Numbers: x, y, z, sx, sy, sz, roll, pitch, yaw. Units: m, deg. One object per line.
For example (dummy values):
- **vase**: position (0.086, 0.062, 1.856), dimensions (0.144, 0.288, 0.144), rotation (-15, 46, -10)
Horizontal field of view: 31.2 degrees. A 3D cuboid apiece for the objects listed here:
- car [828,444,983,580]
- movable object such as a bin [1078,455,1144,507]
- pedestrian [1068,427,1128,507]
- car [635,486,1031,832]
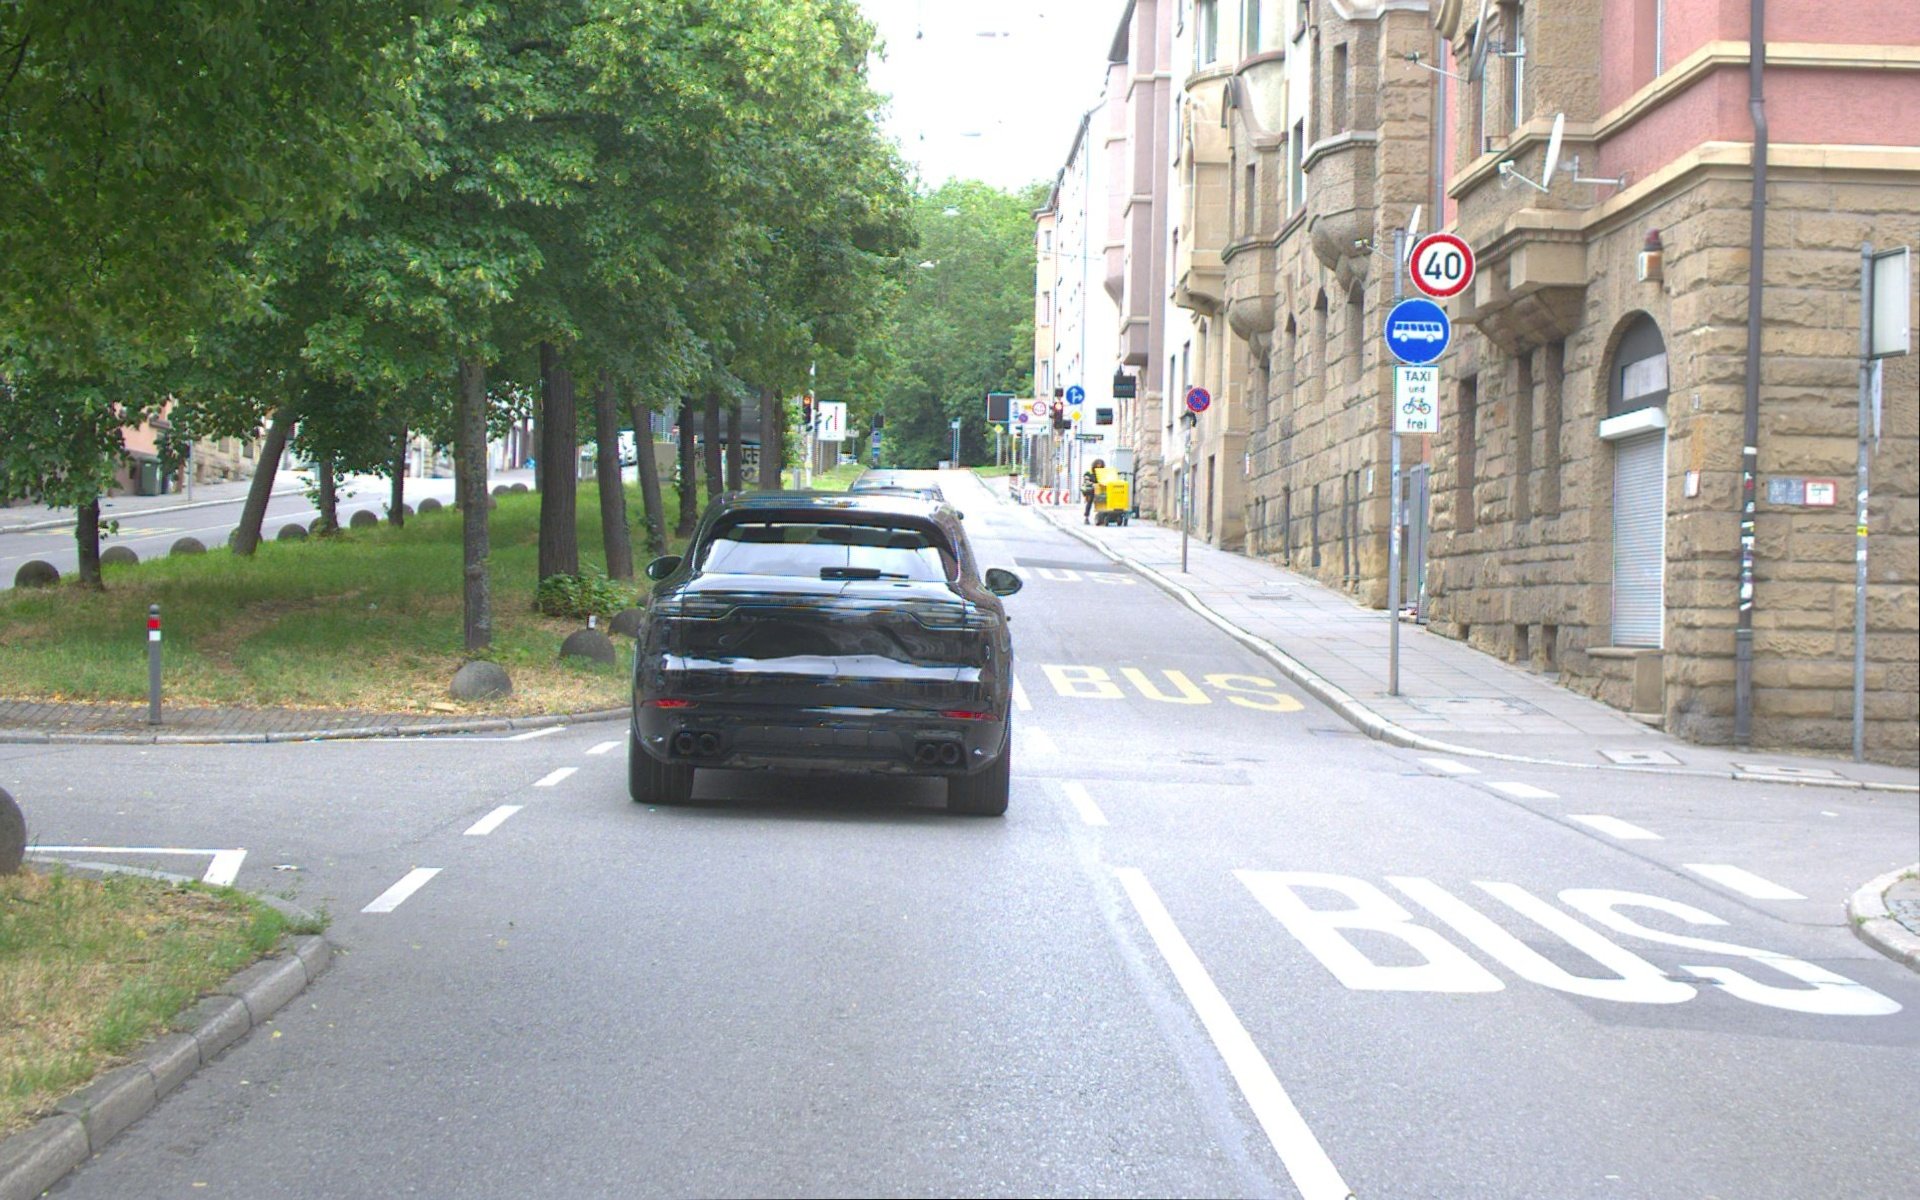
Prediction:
- **car**: position (-0.733, -1.207, 47.264), dimensions (1.993, 1.747, 4.000), rotation (1, 1, -1)
- **movable object such as a bin**: position (3.801, -3.003, 86.840), dimensions (1.236, 1.270, 1.847), rotation (1, 1, -11)
- **pedestrian**: position (3.530, -3.404, 88.226), dimensions (1.301, 2.007, 1.020), rotation (1, 1, -10)
- **car**: position (-0.710, 0.241, 18.965), dimensions (1.903, 1.660, 4.136), rotation (1, 1, -2)
